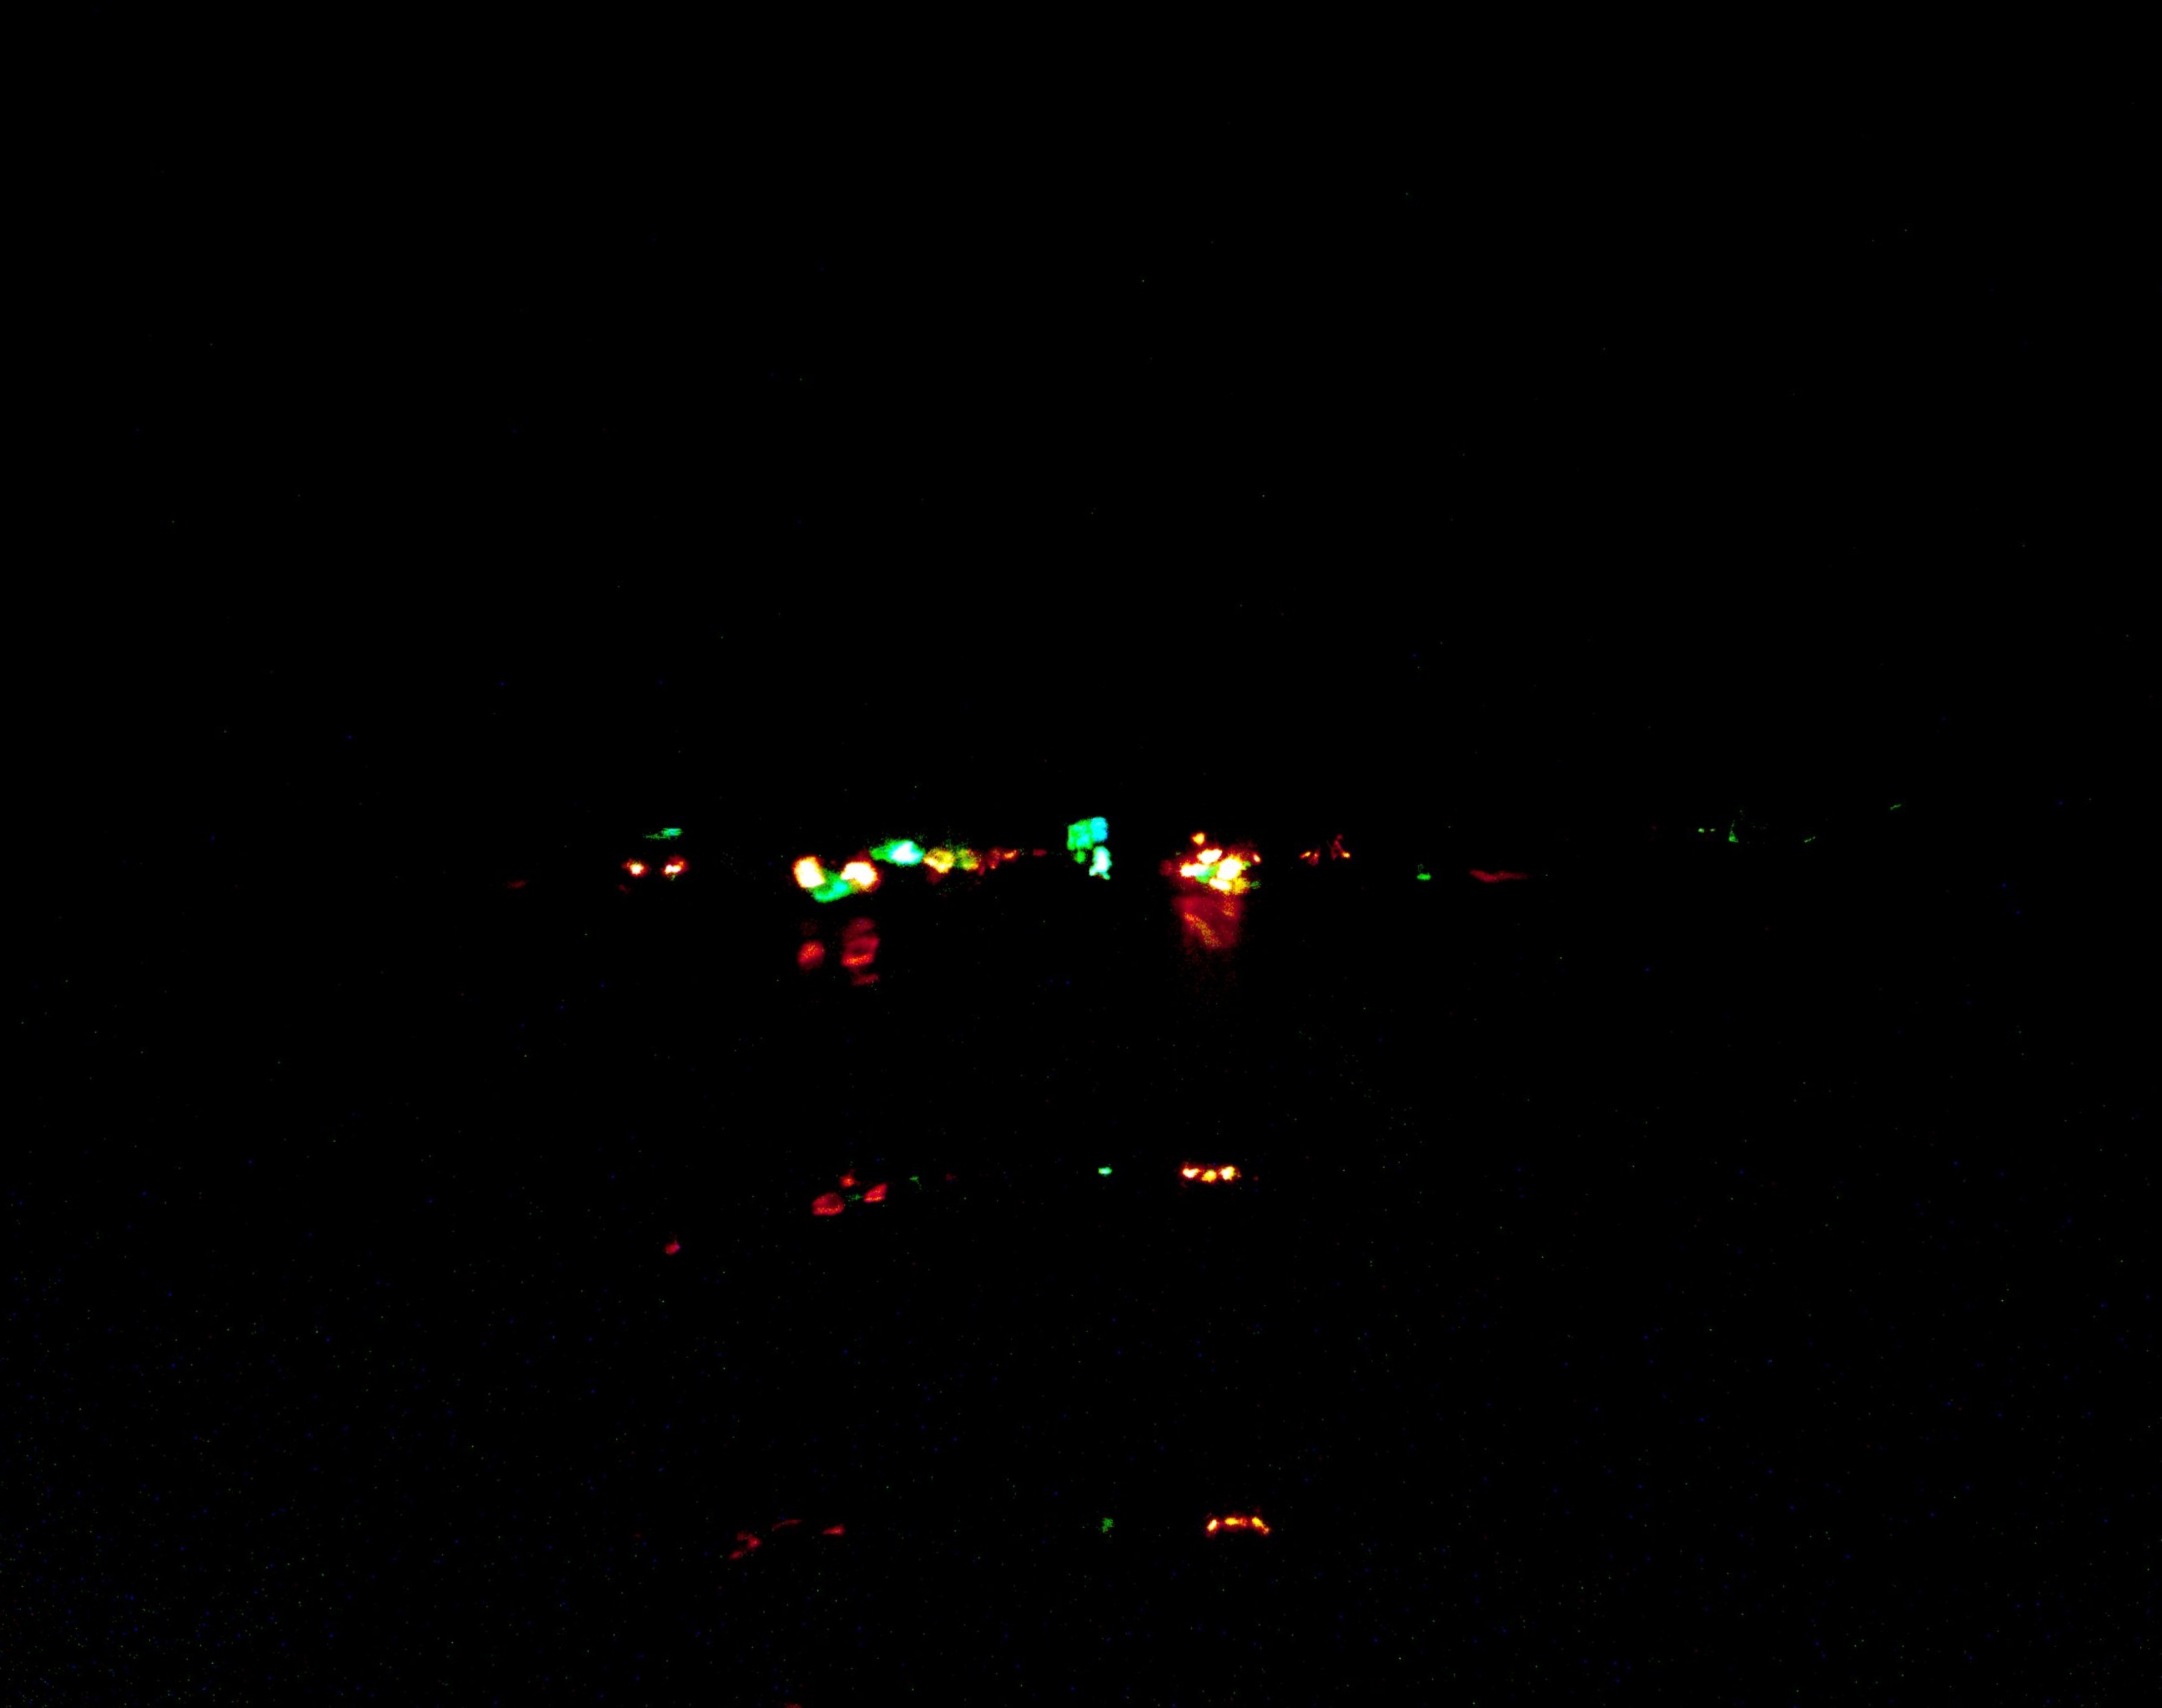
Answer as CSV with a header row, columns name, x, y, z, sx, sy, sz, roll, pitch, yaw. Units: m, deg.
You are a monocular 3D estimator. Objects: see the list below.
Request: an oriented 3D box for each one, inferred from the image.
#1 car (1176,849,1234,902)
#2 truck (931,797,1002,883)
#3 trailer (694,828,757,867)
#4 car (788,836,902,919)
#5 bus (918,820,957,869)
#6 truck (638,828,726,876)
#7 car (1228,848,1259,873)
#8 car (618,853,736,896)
name,x,y,z,sx,sy,sz,roll,pitch,yaw
car,4.583,0.747,30.197,1.982,1.807,4.009,0,0,8
truck,-8.135,-0.912,59.799,4.202,5.648,11.452,0,0,-4
trailer,-33.857,-0.572,77.944,2.619,3.509,8.878,0,0,-3
car,-6.264,0.579,22.222,2.123,2.013,4.637,0,0,-5
bus,-14.360,-0.904,82.302,3.093,4.508,10.889,0,0,-6
truck,-33.371,-0.185,68.731,2.619,3.693,10.851,0,0,-3
car,12.144,0.456,60.705,1.979,1.807,4.016,0,0,15
car,-14.986,0.693,30.590,1.989,1.476,5.160,0,0,-3
